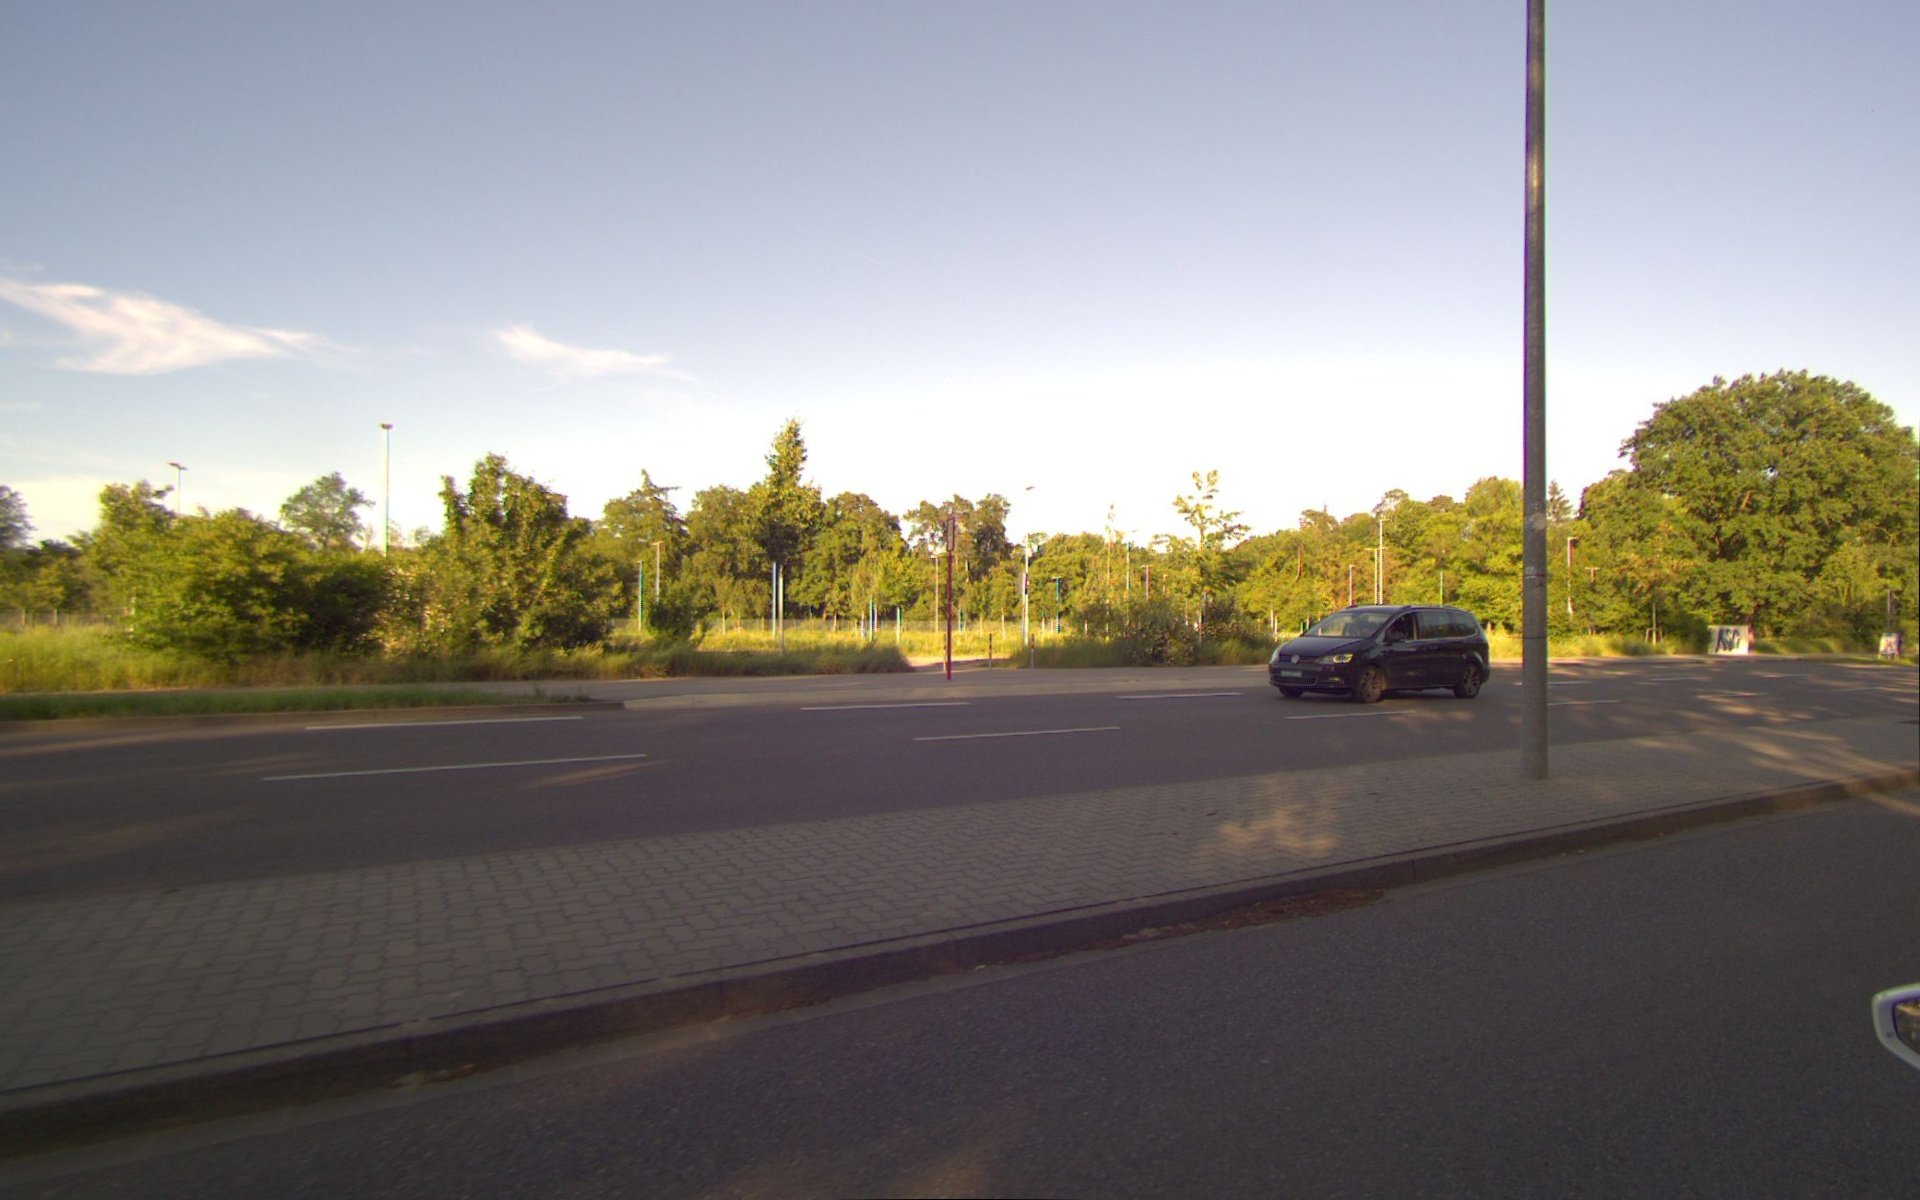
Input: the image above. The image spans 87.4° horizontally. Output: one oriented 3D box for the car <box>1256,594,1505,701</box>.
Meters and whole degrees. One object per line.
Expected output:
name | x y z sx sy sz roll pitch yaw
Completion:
car | 7.727 0.816 18.325 4.648 1.714 1.774 1 1 -31
